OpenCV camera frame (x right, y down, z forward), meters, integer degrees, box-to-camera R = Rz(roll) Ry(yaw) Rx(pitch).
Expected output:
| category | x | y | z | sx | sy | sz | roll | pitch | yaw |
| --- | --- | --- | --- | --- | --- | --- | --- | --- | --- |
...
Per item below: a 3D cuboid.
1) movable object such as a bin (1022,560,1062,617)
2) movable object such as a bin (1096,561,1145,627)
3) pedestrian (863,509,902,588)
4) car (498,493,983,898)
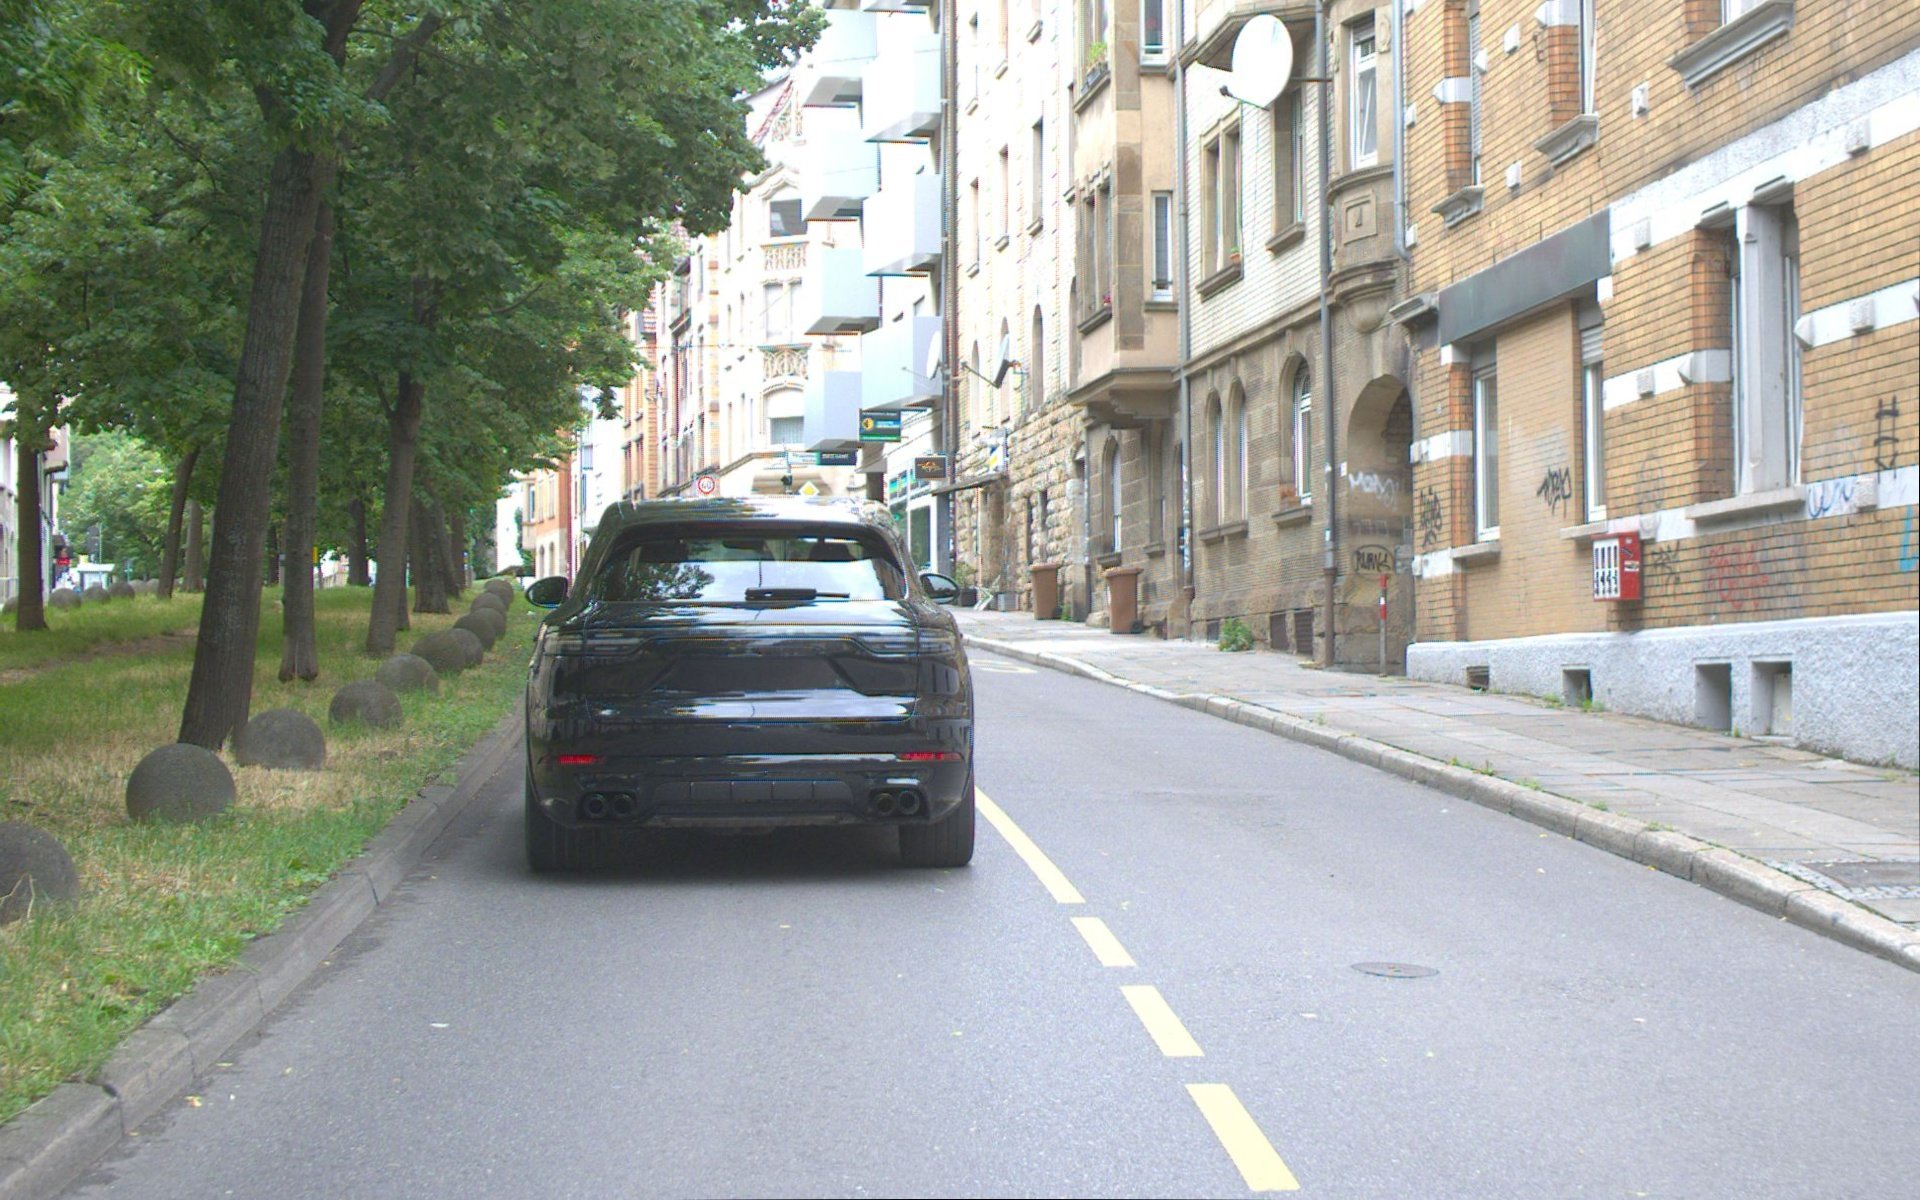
| category | x | y | z | sx | sy | sz | roll | pitch | yaw |
| --- | --- | --- | --- | --- | --- | --- | --- | --- | --- |
| movable object such as a bin | 1.344 | -0.186 | 56.551 | 0.594 | 0.901 | 0.503 | 1 | -3 | -6 |
| movable object such as a bin | 2.239 | -0.086 | 48.095 | 0.594 | 0.901 | 0.563 | 1 | 0 | -6 |
| pedestrian | -1.683 | -1.111 | 74.685 | 0.751 | 1.687 | 0.858 | -1 | -1 | -6 |
| car | -1.010 | 0.362 | 16.226 | 1.993 | 1.660 | 4.001 | 0 | 1 | -3 |
